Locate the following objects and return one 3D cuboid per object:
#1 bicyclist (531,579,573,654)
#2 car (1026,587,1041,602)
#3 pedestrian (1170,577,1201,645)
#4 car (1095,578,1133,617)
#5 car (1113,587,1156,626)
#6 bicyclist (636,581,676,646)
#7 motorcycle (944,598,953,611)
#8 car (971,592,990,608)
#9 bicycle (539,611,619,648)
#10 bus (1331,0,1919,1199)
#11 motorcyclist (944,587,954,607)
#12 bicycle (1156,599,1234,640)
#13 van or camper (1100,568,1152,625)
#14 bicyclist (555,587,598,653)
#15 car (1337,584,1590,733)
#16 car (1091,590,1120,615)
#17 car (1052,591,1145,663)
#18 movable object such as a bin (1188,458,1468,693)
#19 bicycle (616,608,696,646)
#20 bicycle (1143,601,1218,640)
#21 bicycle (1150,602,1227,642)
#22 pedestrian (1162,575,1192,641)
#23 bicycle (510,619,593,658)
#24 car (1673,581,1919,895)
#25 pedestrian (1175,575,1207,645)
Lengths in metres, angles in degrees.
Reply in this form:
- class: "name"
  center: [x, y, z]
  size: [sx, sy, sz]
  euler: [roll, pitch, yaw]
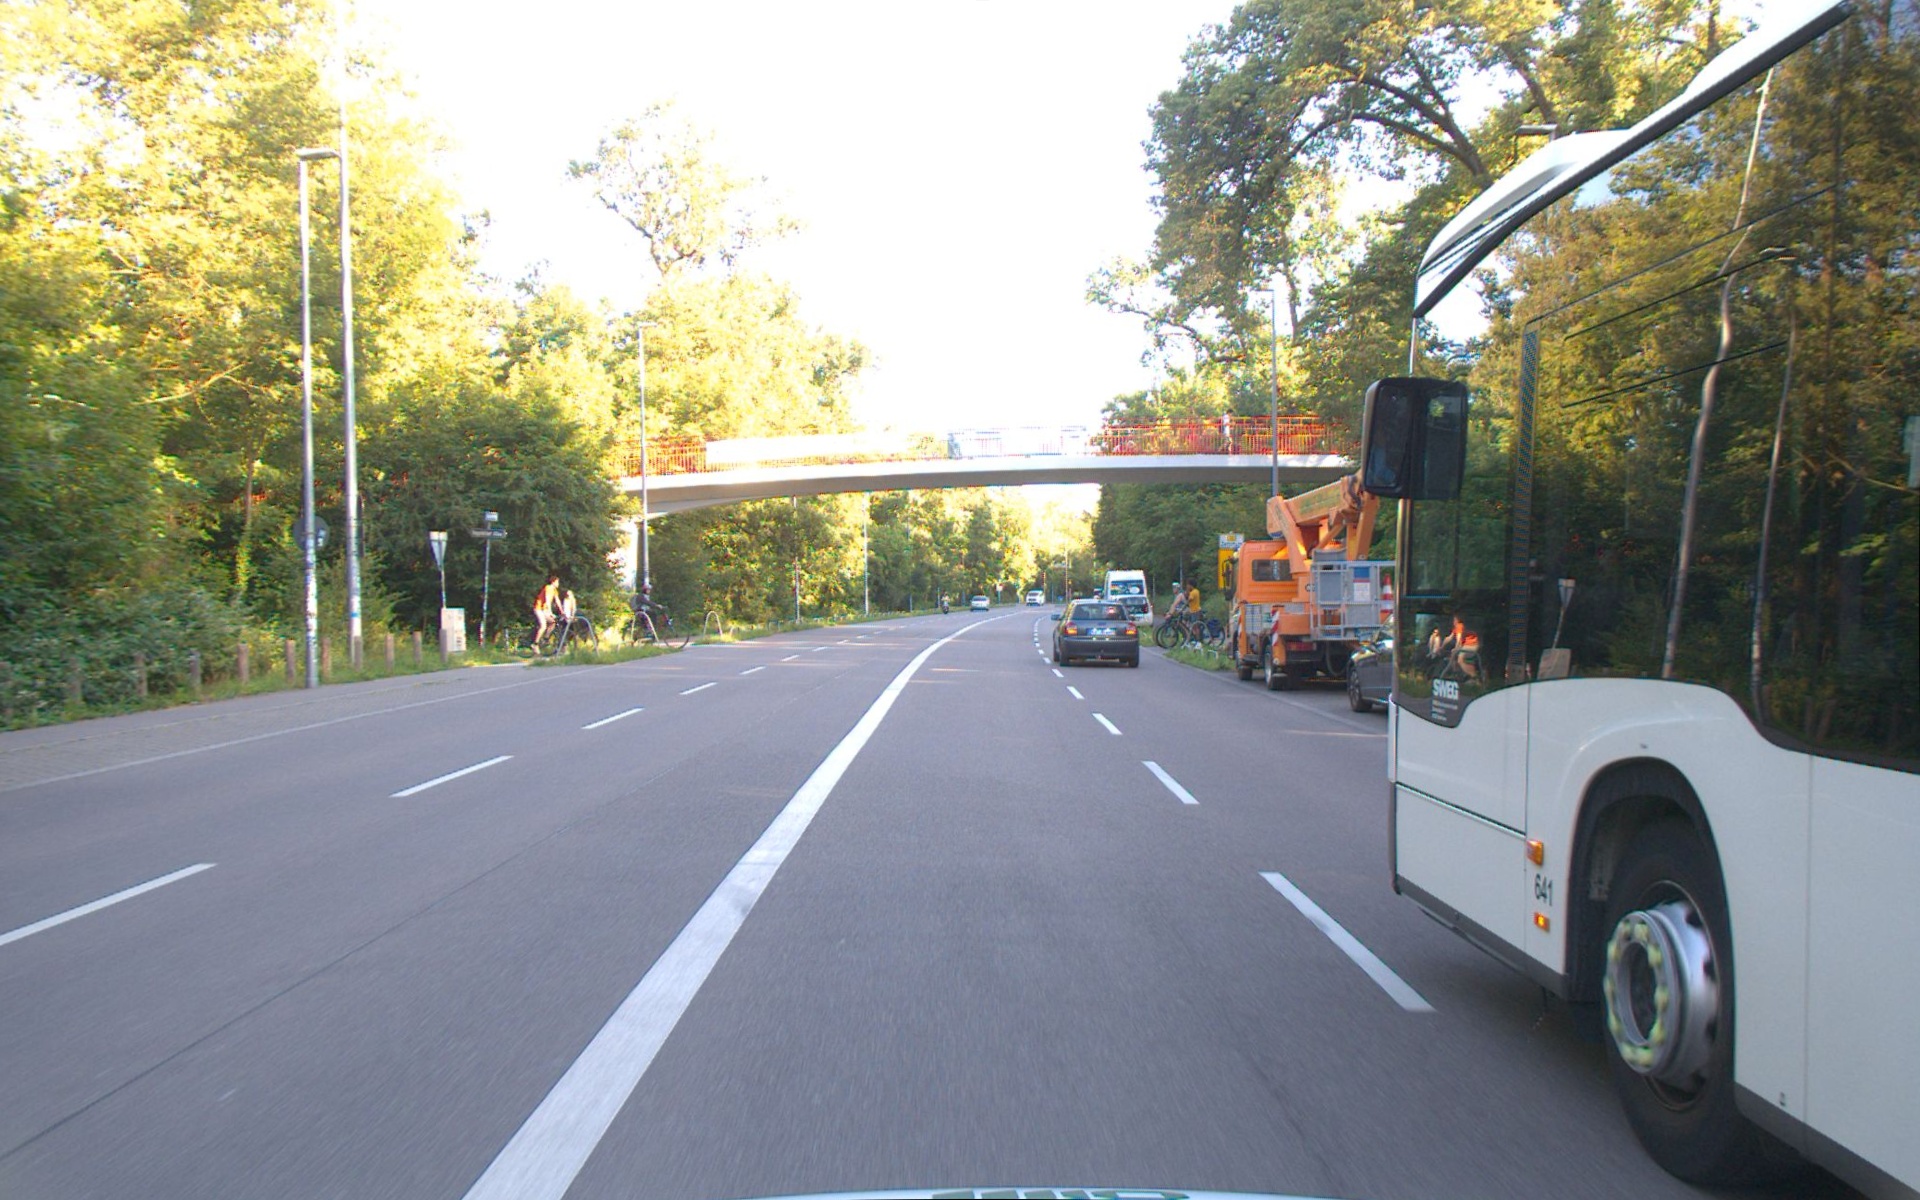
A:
- class: "bicyclist"
  center: [-10.567, 0.422, 42.825]
  size: [0.778, 1.934, 0.818]
  euler: [-1, 0, 10]
- class: "car"
  center: [10.318, -0.732, 231.600]
  size: [1.952, 2.027, 5.000]
  euler: [1, 0, 4]
- class: "pedestrian"
  center: [6.338, 0.304, 46.585]
  size: [0.685, 1.885, 0.938]
  euler: [-1, 0, -3]
- class: "car"
  center: [7.954, -0.147, 85.622]
  size: [1.791, 1.900, 5.076]
  euler: [-1, 0, 3]
- class: "car"
  center: [7.039, 0.236, 66.886]
  size: [1.686, 1.522, 3.777]
  euler: [0, 0, 5]
- class: "bicyclist"
  center: [-7.978, 0.347, 43.438]
  size: [0.778, 1.672, 0.842]
  euler: [0, 0, 10]
- class: "motorcycle"
  center: [-0.887, 0.322, 129.851]
  size: [0.623, 1.013, 2.078]
  euler: [0, 0, 3]
- class: "car"
  center: [1.939, -0.026, 156.233]
  size: [1.646, 1.431, 3.891]
  euler: [-1, 0, 3]
- class: "bicycle"
  center: [-10.142, 0.793, 44.060]
  size: [1.885, 0.951, 0.825]
  euler: [-1, 0, 11]
- class: "bus"
  center: [3.156, -0.042, 1.593]
  size: [2.649, 3.278, 12.277]
  euler: [1, 0, -1]
- class: "motorcyclist"
  center: [-0.881, -0.236, 129.779]
  size: [0.709, 1.531, 0.672]
  euler: [0, 0, 2]
- class: "bicycle"
  center: [6.469, 0.523, 45.594]
  size: [2.020, 1.087, 0.870]
  euler: [-1, 0, -3]
- class: "van or camper"
  center: [7.792, -0.189, 78.088]
  size: [2.075, 2.561, 5.982]
  euler: [-1, 0, 2]
- class: "bicyclist"
  center: [-10.209, 0.519, 44.062]
  size: [0.778, 1.727, 0.946]
  euler: [-1, 0, 10]
- class: "car"
  center: [5.913, 0.620, 19.916]
  size: [1.693, 1.601, 4.088]
  euler: [0, 0, -2]
- class: "car"
  center: [9.104, 0.134, 103.432]
  size: [1.691, 1.466, 4.103]
  euler: [-3, 0, 5]
- class: "car"
  center: [2.948, 0.539, 35.972]
  size: [1.692, 1.467, 4.090]
  euler: [0, 0, 0]
- class: "movable object such as a bin"
  center: [5.949, -0.394, 28.166]
  size: [2.703, 3.429, 7.596]
  euler: [-1, 0, -3]
- class: "bicycle"
  center: [-7.969, 0.703, 43.431]
  size: [1.885, 0.951, 0.825]
  euler: [0, 0, 11]
- class: "bicycle"
  center: [6.352, 0.579, 47.687]
  size: [2.020, 1.087, 0.870]
  euler: [-1, 0, -3]
- class: "bicycle"
  center: [6.429, 0.611, 46.552]
  size: [2.020, 1.087, 0.870]
  euler: [-1, 0, -3]
- class: "pedestrian"
  center: [6.247, 0.225, 47.698]
  size: [0.685, 1.885, 0.938]
  euler: [-1, 0, -3]
- class: "bicycle"
  center: [-10.565, 1.002, 42.818]
  size: [1.885, 0.951, 0.825]
  euler: [-1, 0, 11]
- class: "car"
  center: [5.784, 0.695, 8.957]
  size: [1.801, 1.601, 4.458]
  euler: [-1, 0, -2]
- class: "pedestrian"
  center: [6.361, 0.271, 45.603]
  size: [0.685, 1.885, 0.938]
  euler: [-1, 0, -3]
